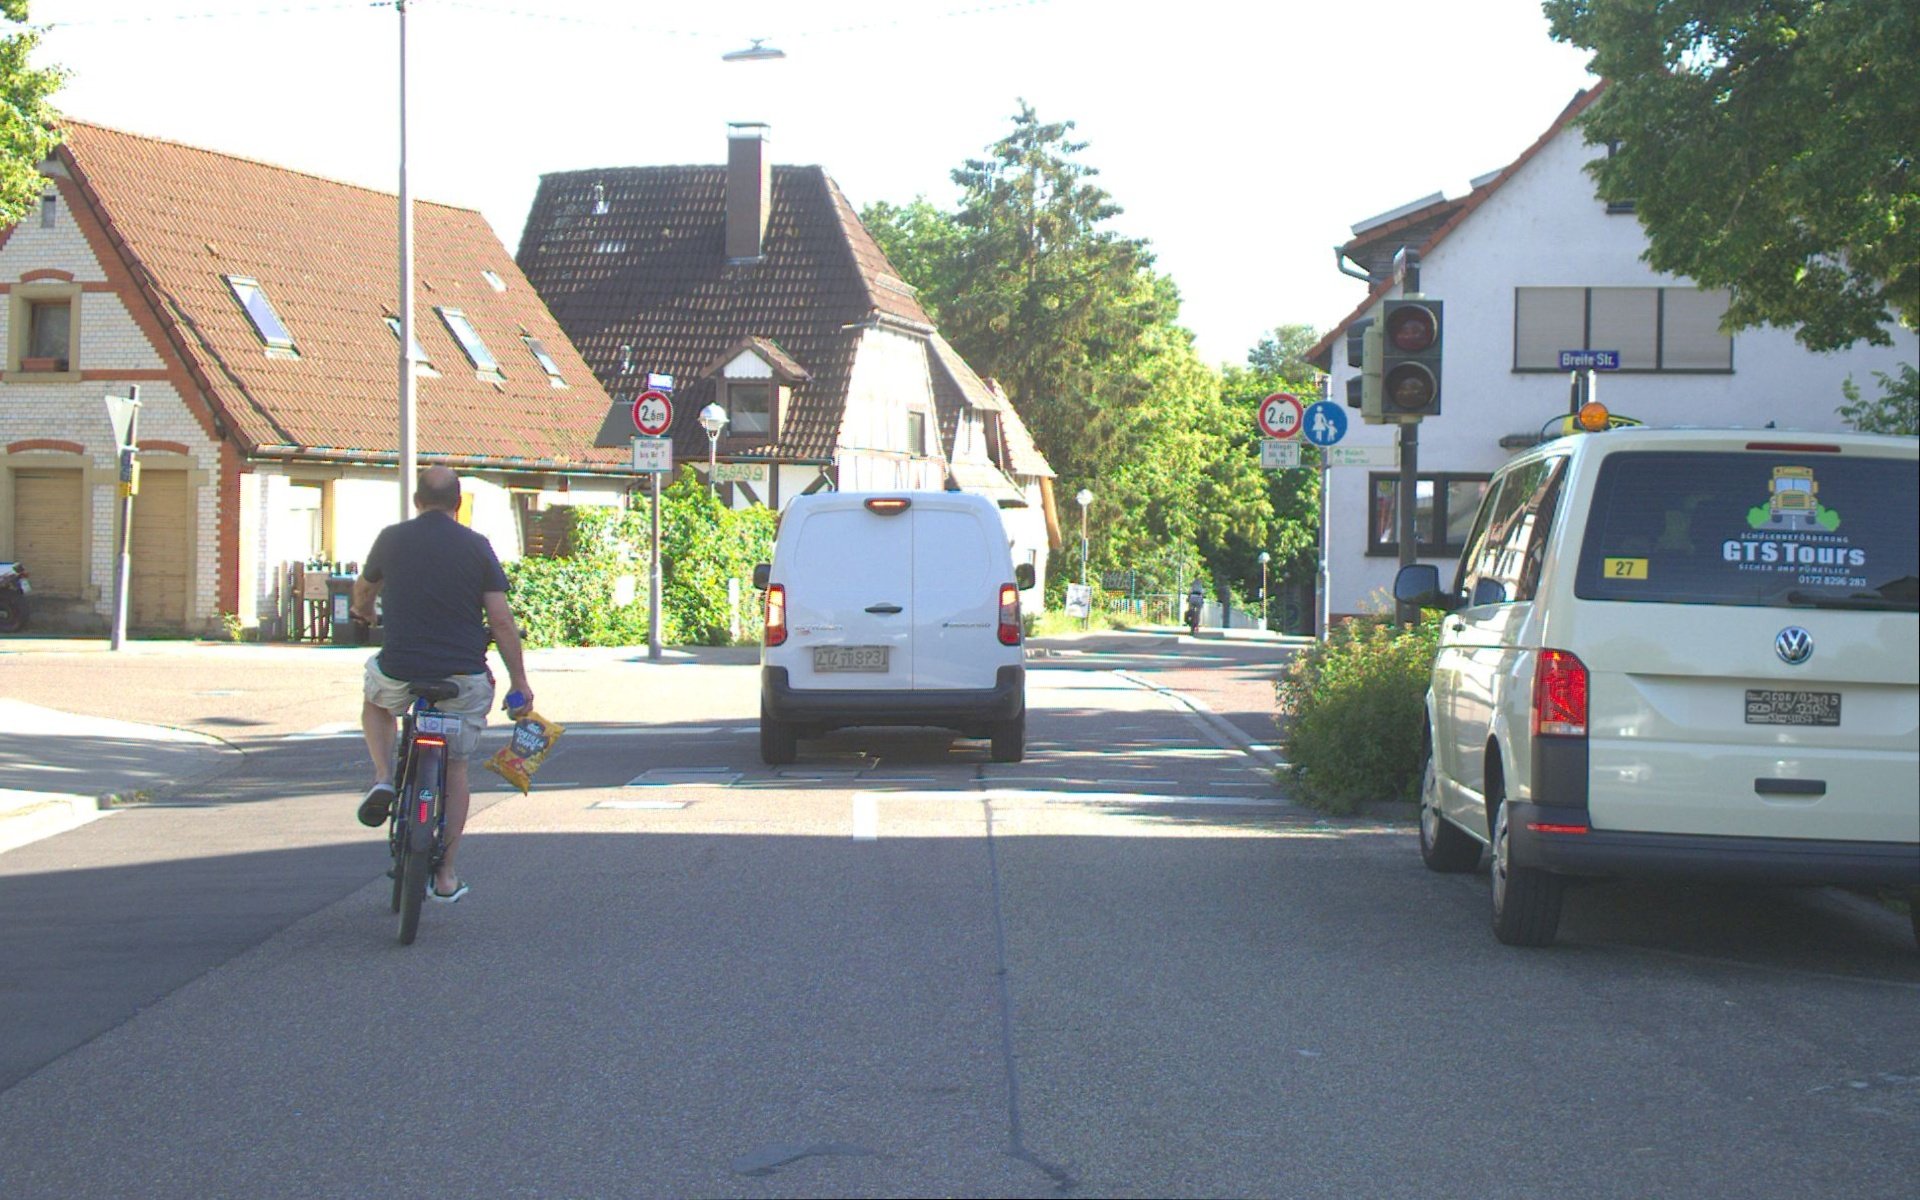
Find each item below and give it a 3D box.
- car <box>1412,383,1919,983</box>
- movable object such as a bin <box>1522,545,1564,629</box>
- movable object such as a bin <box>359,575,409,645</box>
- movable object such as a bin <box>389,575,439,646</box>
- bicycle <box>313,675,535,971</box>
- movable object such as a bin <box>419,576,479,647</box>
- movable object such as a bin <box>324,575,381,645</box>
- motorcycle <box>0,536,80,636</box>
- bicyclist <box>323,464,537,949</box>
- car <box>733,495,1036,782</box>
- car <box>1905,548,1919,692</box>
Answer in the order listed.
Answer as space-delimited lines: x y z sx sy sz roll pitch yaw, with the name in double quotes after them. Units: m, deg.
3.100 0.275 14.350 1.994 2.072 4.577 1 1 3 "car"
7.921 -0.186 46.701 0.527 1.119 0.748 1 1 10 "movable object such as a bin"
-7.735 0.132 46.164 0.412 0.903 0.625 1 2 19 "movable object such as a bin"
-7.313 0.140 46.032 0.411 0.921 0.625 1 1 19 "movable object such as a bin"
-2.041 0.811 13.289 0.774 0.937 2.291 0 1 -7 "bicycle"
-6.816 0.146 45.865 0.556 0.921 0.625 1 1 19 "movable object such as a bin"
-8.190 0.126 46.357 0.508 0.921 0.625 1 1 19 "movable object such as a bin"
-13.175 -0.210 46.666 2.244 1.291 0.882 1 4 19 "motorcycle"
-2.013 0.381 13.138 0.764 1.782 0.853 -1 1 -7 "bicyclist"
-0.564 0.182 24.525 1.957 1.841 4.561 0 2 -2 "car"
10.665 0.287 34.163 1.994 1.416 4.801 1 3 10 "car"
